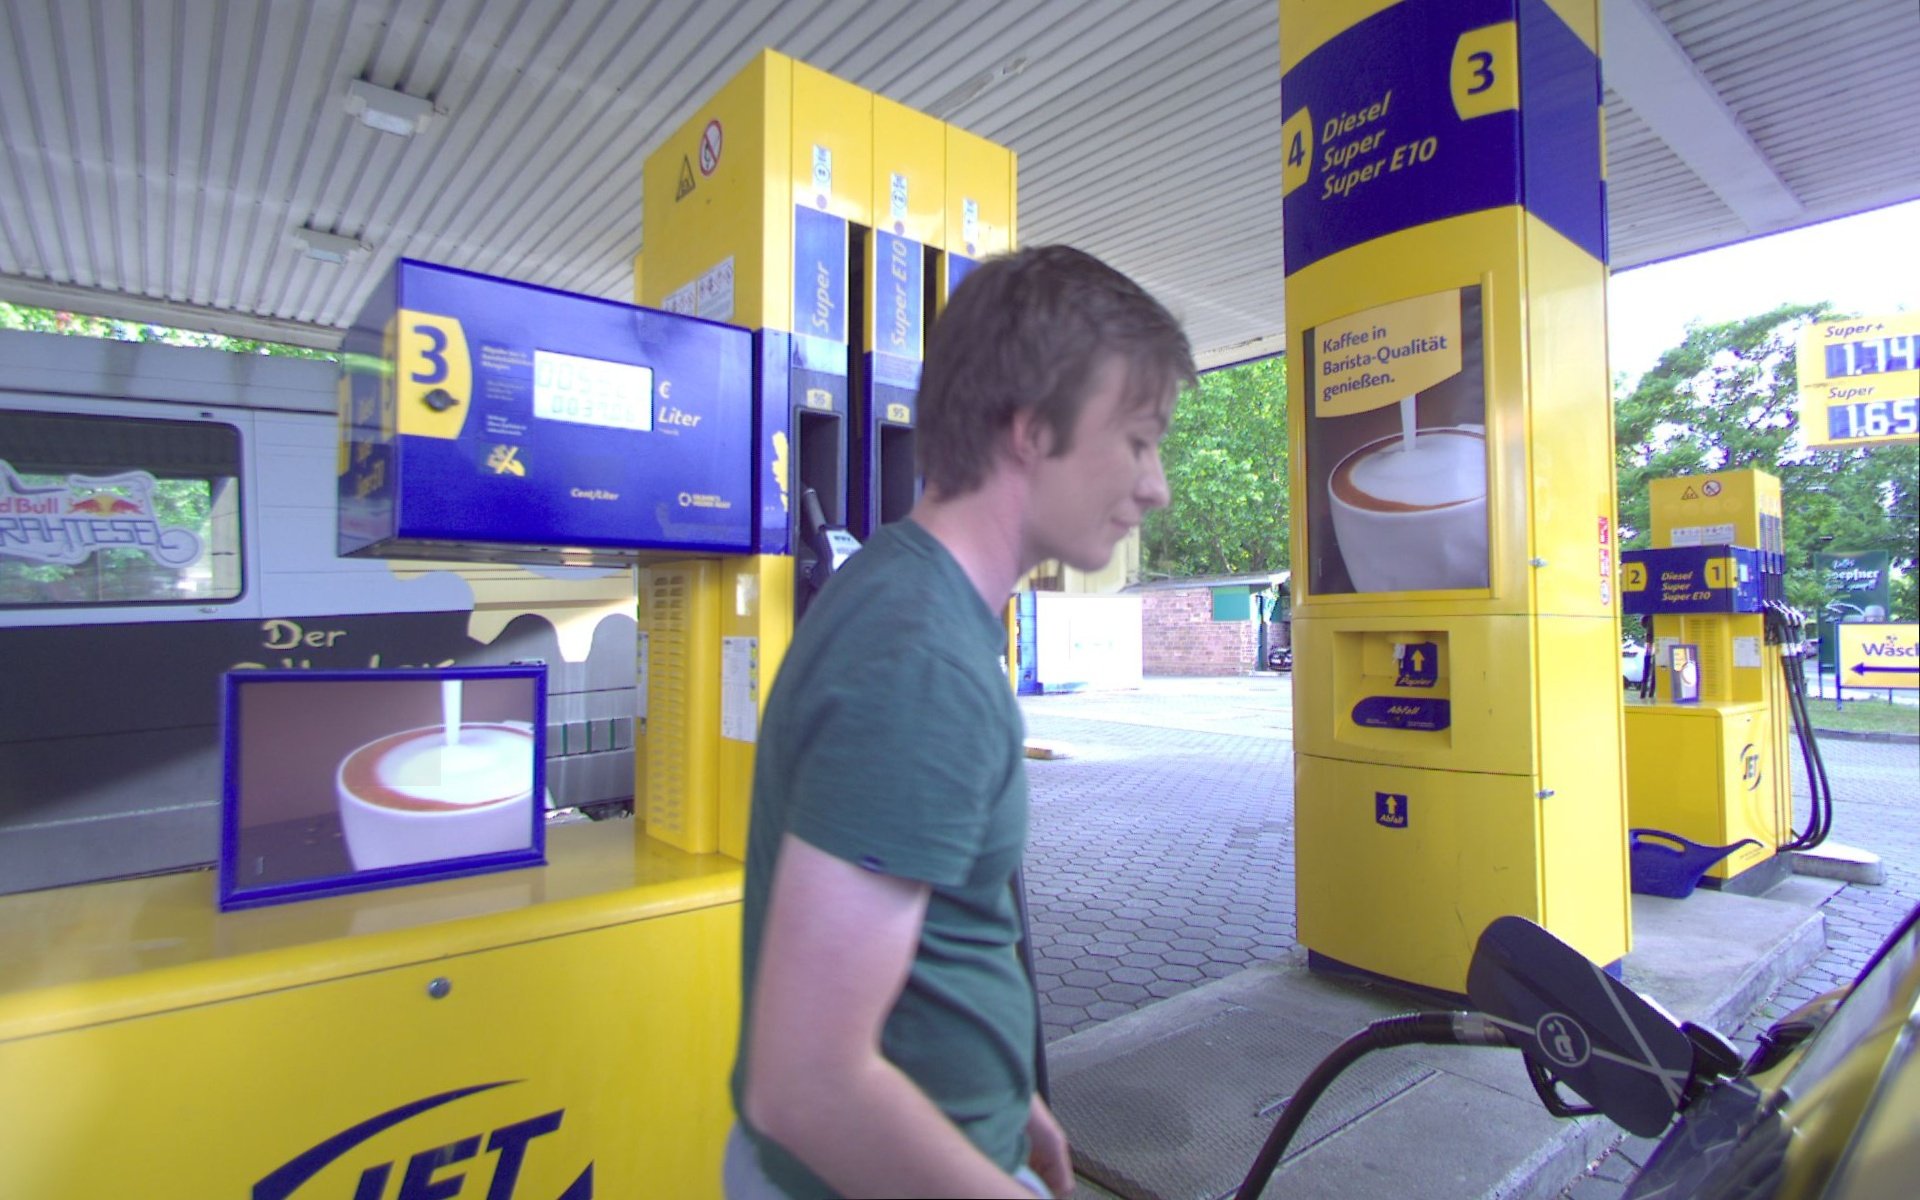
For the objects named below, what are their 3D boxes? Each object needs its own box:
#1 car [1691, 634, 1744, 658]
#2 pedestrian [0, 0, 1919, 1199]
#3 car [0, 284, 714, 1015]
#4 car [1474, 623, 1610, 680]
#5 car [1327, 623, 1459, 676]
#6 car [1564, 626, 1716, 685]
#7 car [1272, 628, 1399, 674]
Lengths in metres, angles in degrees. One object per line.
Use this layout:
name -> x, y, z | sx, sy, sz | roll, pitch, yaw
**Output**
car -> 51.935, 3.115, 69.432 | 1.844, 1.528, 4.785 | -3, -2, 25
pedestrian -> -0.041, 0.534, 0.949 | 1.158, 1.750, 0.996 | -1, 1, -17
car -> -4.096, 0.194, 4.857 | 5.248, 2.760, 2.201 | 0, -1, -39
car -> 17.772, 1.575, 30.853 | 4.112, 1.606, 1.826 | 2, -3, -31
car -> 13.783, 1.566, 32.171 | 4.112, 1.606, 1.826 | 2, -3, -31
car -> 18.255, 1.484, 27.136 | 4.112, 1.478, 1.826 | 2, -3, -31
car -> 12.644, 1.697, 34.034 | 4.112, 1.453, 1.826 | 2, -3, -31
